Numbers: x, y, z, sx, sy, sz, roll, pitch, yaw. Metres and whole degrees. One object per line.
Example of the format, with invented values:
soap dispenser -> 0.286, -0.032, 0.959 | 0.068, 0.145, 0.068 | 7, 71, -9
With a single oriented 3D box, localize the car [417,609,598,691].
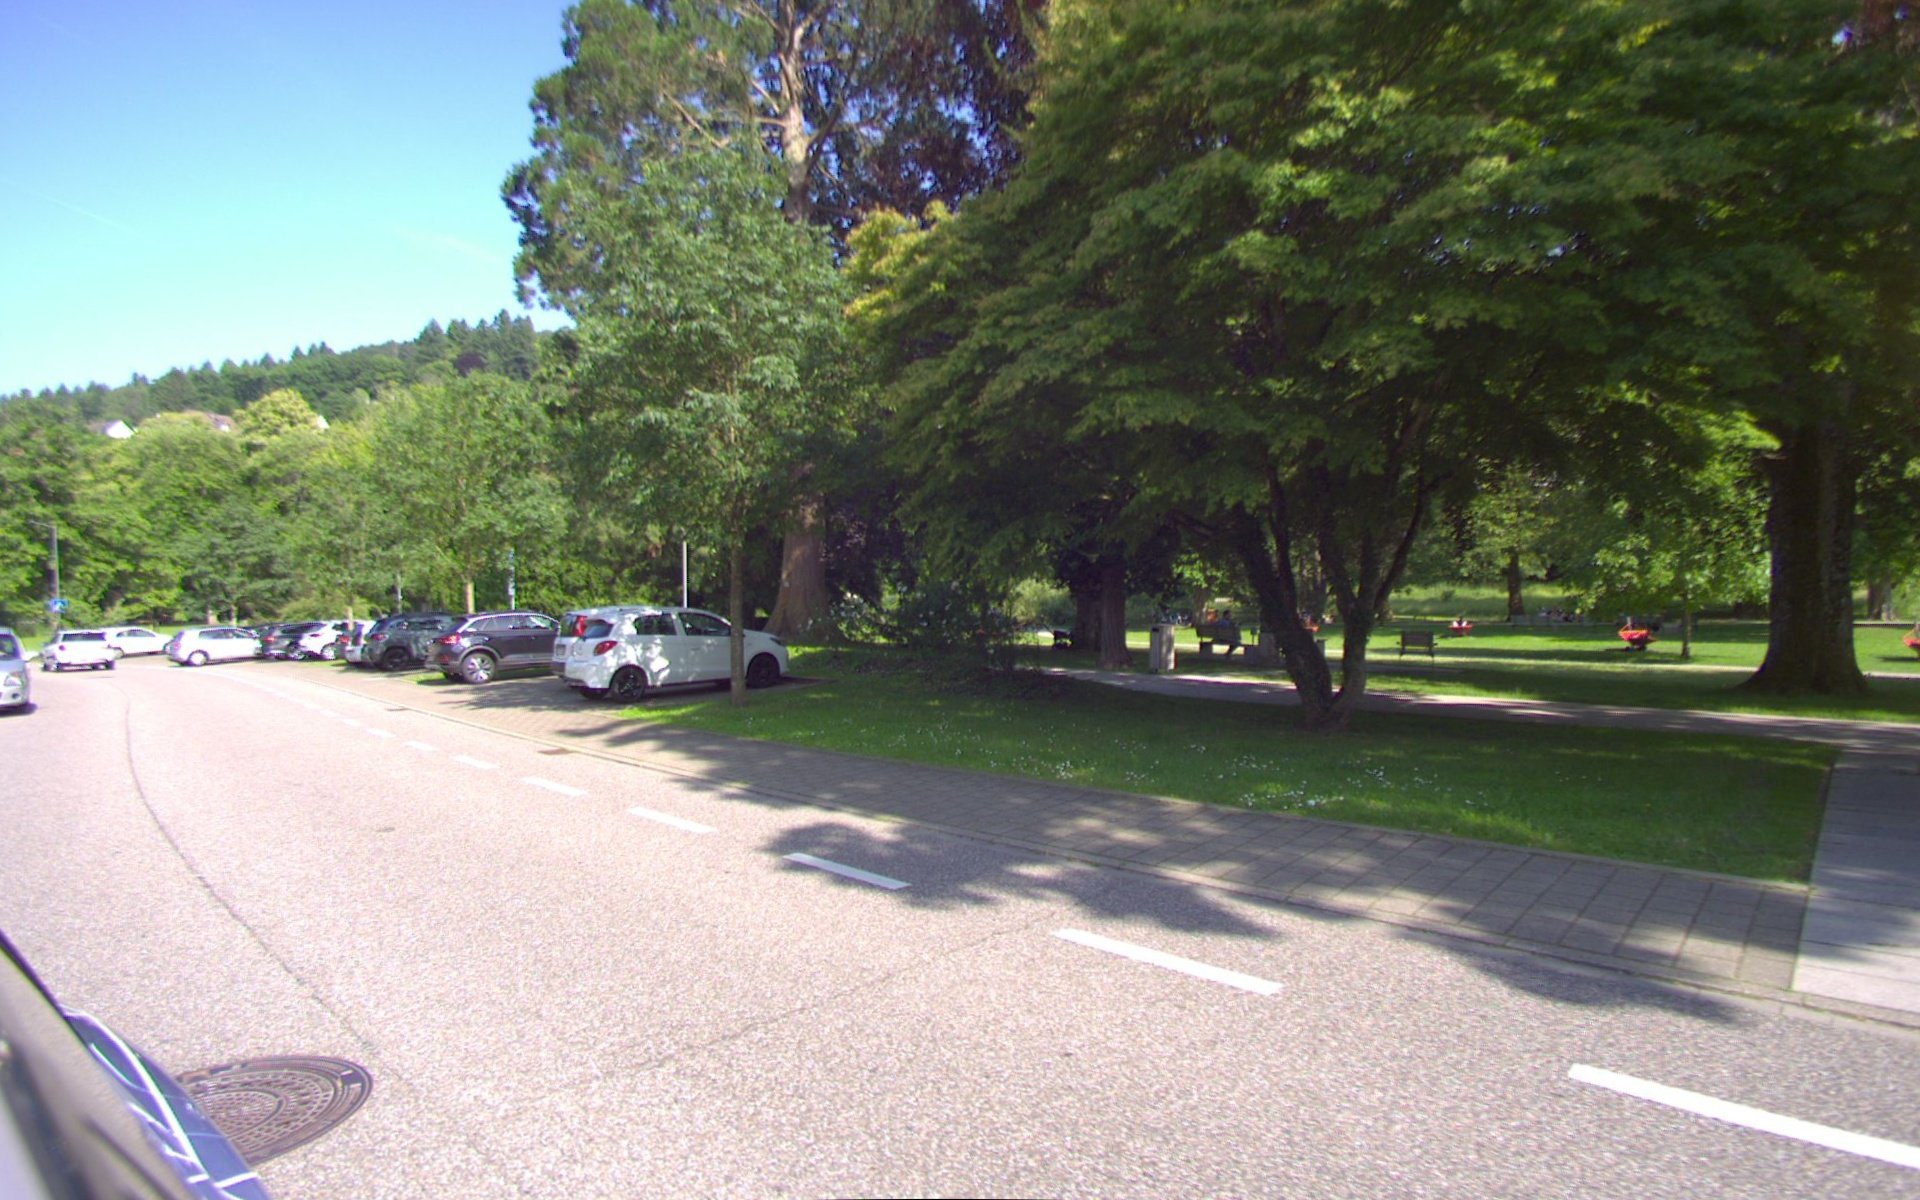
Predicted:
car -> -10.215, 1.081, 22.967 | 3.439, 1.557, 1.446 | -3, 0, -41

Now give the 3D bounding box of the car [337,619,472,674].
car -> -17.548, 1.424, 32.046 | 3.439, 1.436, 1.556 | -4, 1, -41

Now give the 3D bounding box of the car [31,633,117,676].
car -> -33.816, 2.062, 38.613 | 3.994, 1.516, 1.754 | -2, -1, 38

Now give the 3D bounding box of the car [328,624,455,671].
car -> -19.091, 1.559, 34.042 | 3.439, 1.311, 1.556 | -4, 1, -41

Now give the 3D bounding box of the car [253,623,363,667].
car -> -25.711, 1.738, 39.955 | 3.439, 1.436, 1.556 | -4, 1, -41

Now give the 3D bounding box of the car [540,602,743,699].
car -> -6.109, 0.912, 19.616 | 3.439, 1.564, 1.382 | -3, 1, -41

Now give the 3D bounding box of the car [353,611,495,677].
car -> -15.739, 1.250, 29.796 | 3.439, 1.632, 1.382 | -4, 1, -41

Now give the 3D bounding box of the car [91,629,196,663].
car -> -42.362, 2.352, 52.598 | 1.507, 1.488, 3.966 | -3, 0, 25

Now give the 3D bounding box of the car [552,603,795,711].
car -> -4.823, 0.897, 17.270 | 3.632, 1.498, 1.568 | -3, 1, -41

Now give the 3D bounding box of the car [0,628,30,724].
car -> -18.433, 1.391, 18.810 | 1.582, 1.650, 4.003 | -3, 1, -43

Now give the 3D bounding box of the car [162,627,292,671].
car -> -29.462, 1.951, 40.761 | 1.515, 1.408, 3.948 | -3, 1, 39

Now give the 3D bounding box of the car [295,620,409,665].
car -> -23.150, 1.587, 38.579 | 3.439, 1.436, 1.556 | -4, 1, -41

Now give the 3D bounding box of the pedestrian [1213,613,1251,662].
pedestrian -> 7.096, 0.972, 26.454 | 0.645, 1.232, 0.711 | 0, -1, -24
